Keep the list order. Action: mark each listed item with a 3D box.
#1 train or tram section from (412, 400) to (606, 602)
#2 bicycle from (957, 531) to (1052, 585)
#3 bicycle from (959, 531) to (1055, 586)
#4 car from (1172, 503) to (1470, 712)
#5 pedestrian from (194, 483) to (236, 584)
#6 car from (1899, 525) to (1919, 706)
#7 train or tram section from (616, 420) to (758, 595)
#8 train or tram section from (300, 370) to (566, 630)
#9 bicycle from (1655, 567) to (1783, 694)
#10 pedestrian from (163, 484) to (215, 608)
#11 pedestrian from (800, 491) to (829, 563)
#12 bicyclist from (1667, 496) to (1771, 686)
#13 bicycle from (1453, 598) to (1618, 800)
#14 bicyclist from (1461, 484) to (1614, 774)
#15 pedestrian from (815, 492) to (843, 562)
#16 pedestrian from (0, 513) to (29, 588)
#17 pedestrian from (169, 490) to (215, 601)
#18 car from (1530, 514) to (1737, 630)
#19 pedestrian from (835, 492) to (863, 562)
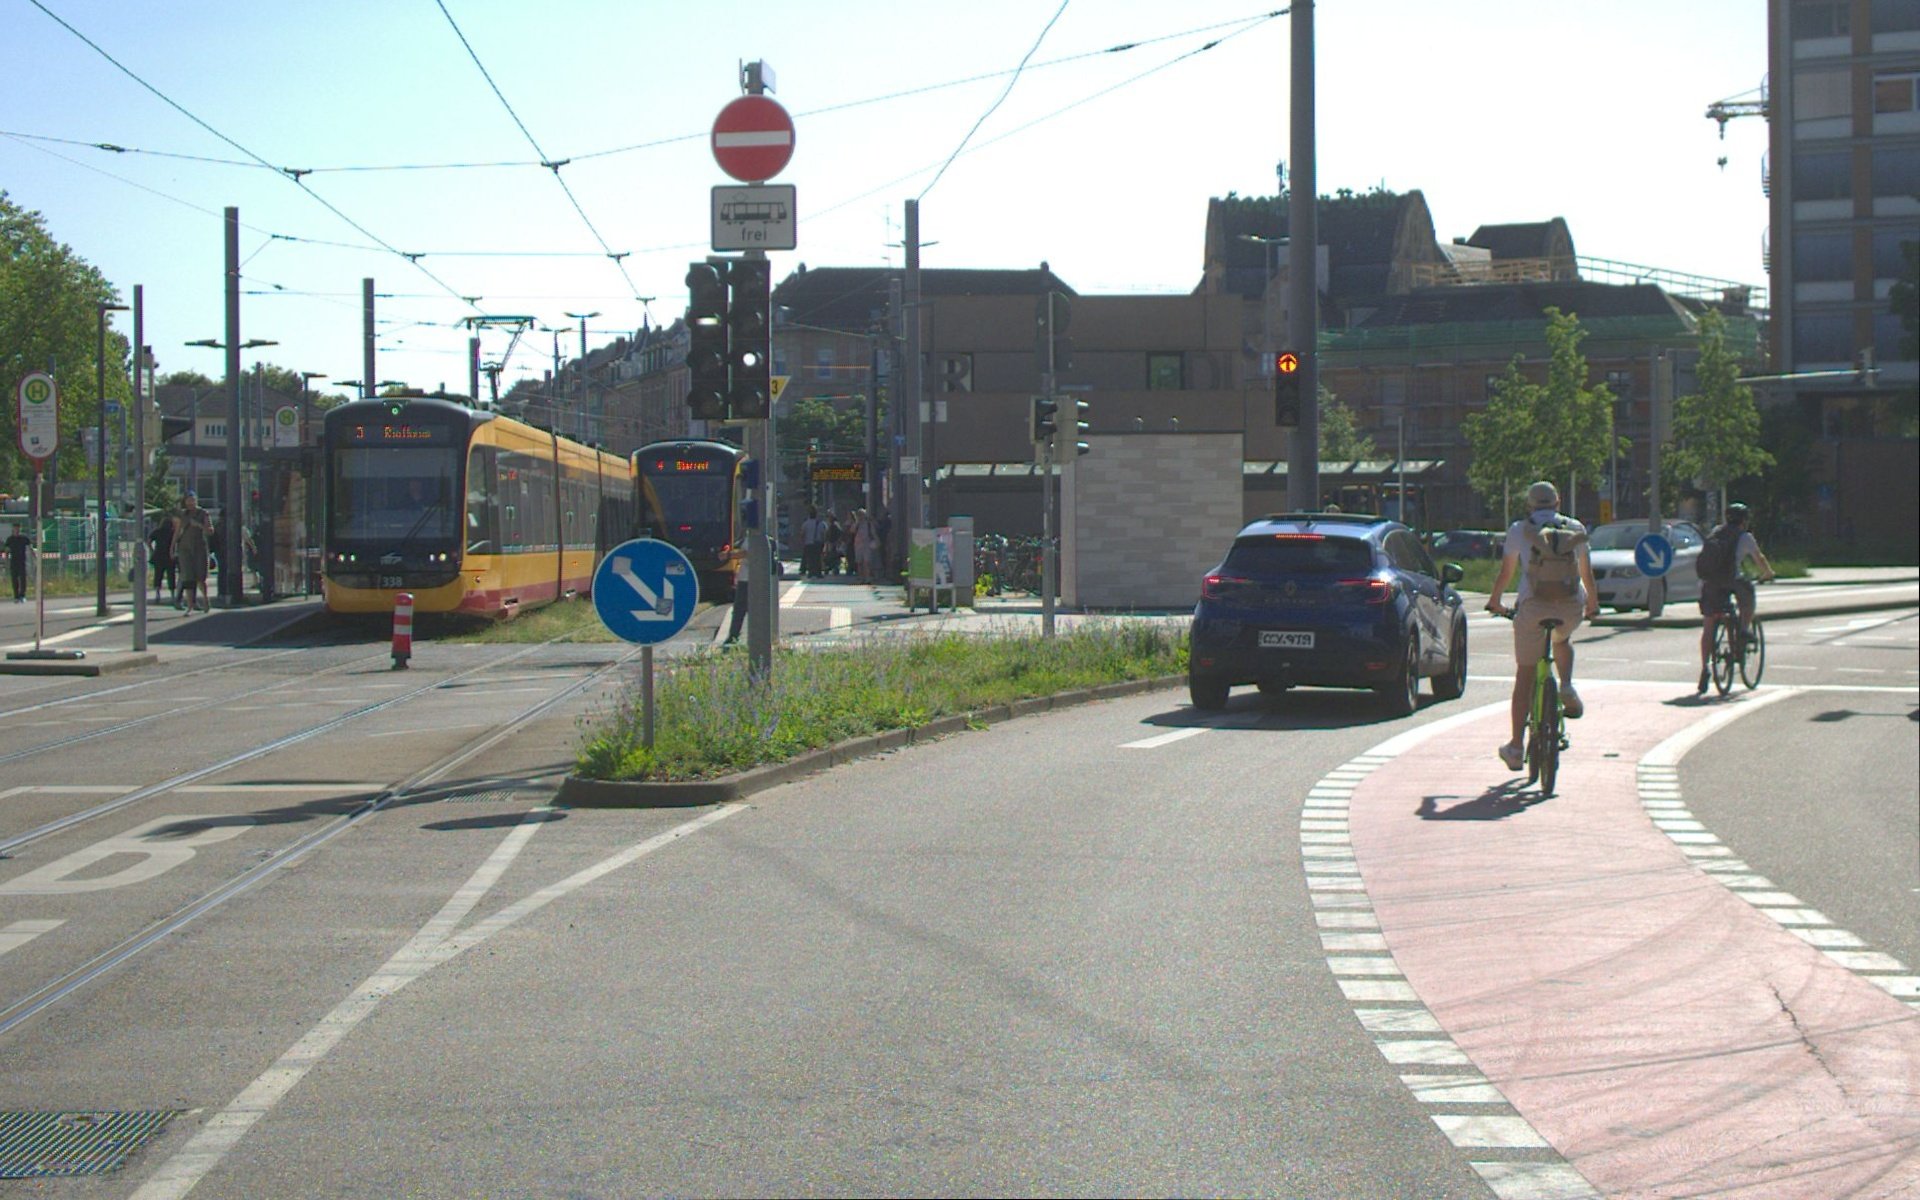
[{"bbox_3d":[-8.777,-1.967,68.316,2.742,3.639,12.546,0,2,-3],"label":"train or tram section"},{"bbox_3d":[0.921,-0.874,71.447,1.933,1.099,0.599,0,2,-4],"label":"bicycle"},{"bbox_3d":[0.969,-0.861,70.678,1.933,1.099,0.599,0,2,-4],"label":"bicycle"},{"bbox_3d":[3.087,0.008,28.780,1.790,1.599,3.710,1,2,17],"label":"car"},{"bbox_3d":[-13.525,-1.214,62.407,0.626,1.821,0.662,0,1,-3],"label":"pedestrian"},{"bbox_3d":[9.367,0.113,30.136,1.791,1.506,3.709,1,2,21],"label":"car"},{"bbox_3d":[-6.107,-2.119,78.653,2.742,3.639,13.788,0,2,-3],"label":"train or tram section"},{"bbox_3d":[-8.190,-1.596,55.186,2.742,3.639,13.788,0,2,-3],"label":"train or tram section"},{"bbox_3d":[7.006,0.259,31.646,0.706,1.051,2.311,3,3,23],"label":"bicycle"},{"bbox_3d":[-11.411,-0.799,50.877,0.626,1.821,0.662,0,1,-3],"label":"pedestrian"},{"bbox_3d":[-3.967,-1.995,93.824,0.660,1.946,0.629,-1,1,-13],"label":"pedestrian"},{"bbox_3d":[6.957,-0.099,31.493,0.706,1.694,0.986,3,2,23],"label":"bicyclist"},{"bbox_3d":[3.471,0.569,20.636,0.705,1.101,1.716,2,2,18],"label":"bicycle"},{"bbox_3d":[3.466,0.151,20.579,0.705,1.669,1.100,2,2,18],"label":"bicyclist"},{"bbox_3d":[-3.649,-2.022,95.504,0.660,1.946,0.629,-1,1,-13],"label":"pedestrian"},{"bbox_3d":[-21.552,-1.134,78.118,0.626,1.691,0.662,0,1,-3],"label":"pedestrian"},{"bbox_3d":[-12.630,-0.897,56.542,0.626,1.821,0.662,0,1,-3],"label":"pedestrian"},{"bbox_3d":[10.040,-0.439,51.109,1.705,1.638,3.705,2,2,33],"label":"car"},{"bbox_3d":[-3.109,-2.032,96.129,0.660,1.946,0.629,-1,1,-13],"label":"pedestrian"}]
